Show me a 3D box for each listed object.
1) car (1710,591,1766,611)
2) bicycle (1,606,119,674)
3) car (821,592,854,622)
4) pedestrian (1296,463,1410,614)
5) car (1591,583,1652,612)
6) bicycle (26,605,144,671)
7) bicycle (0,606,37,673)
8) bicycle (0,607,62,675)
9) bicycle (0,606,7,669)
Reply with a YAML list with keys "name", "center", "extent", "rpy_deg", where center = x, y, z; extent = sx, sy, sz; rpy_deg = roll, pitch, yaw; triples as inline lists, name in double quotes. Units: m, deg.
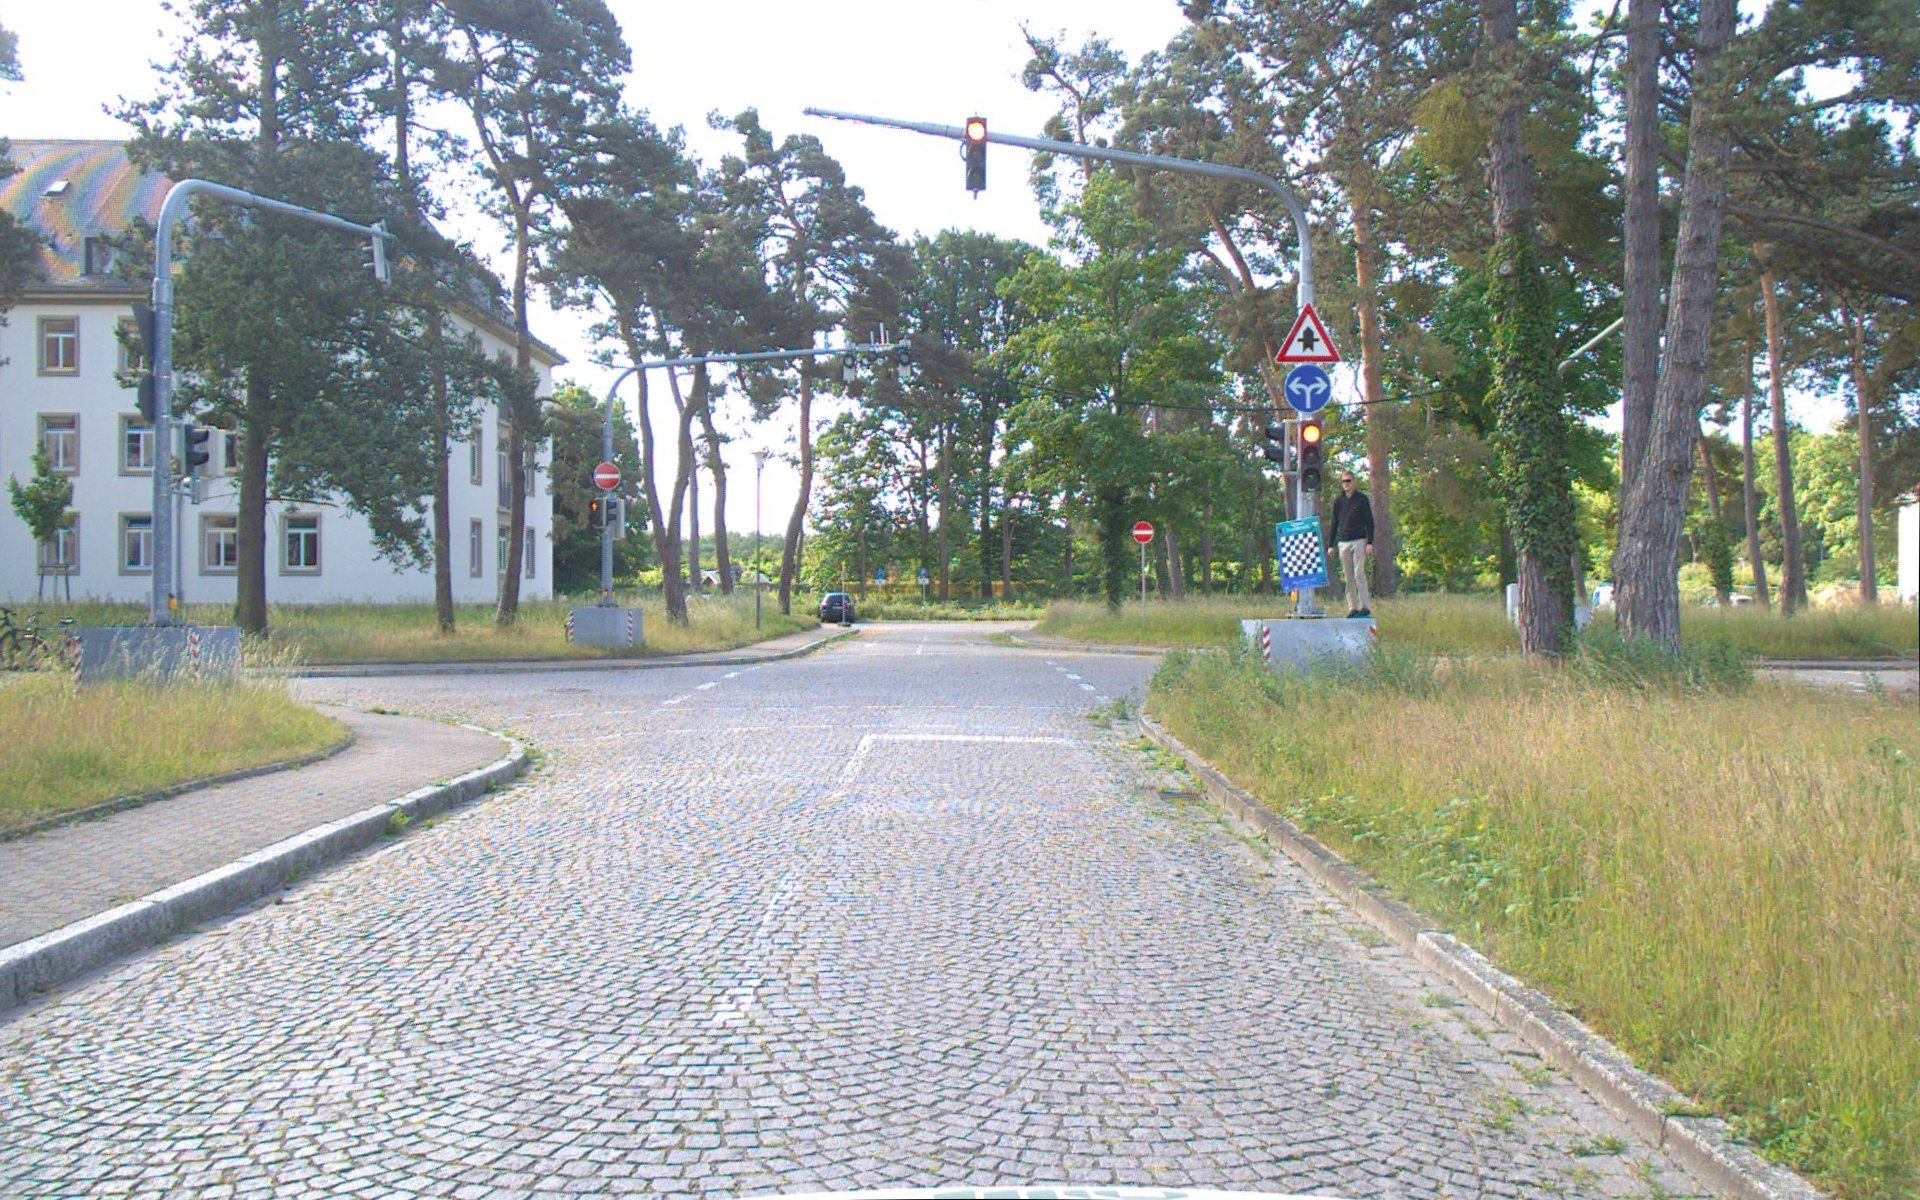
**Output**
- name: "car"
  center: [44.823, 0.023, 95.356]
  extent: [1.686, 1.106, 4.003]
  rpy_deg: [0, 0, 5]
- name: "bicycle"
  center: [-16.762, 0.741, 30.829]
  extent: [1.824, 1.242, 0.635]
  rpy_deg: [0, 0, -1]
- name: "car"
  center: [-6.537, 0.360, 88.340]
  extent: [1.675, 1.522, 3.917]
  rpy_deg: [0, 0, -3]
- name: "pedestrian"
  center: [4.953, -0.753, 20.812]
  extent: [1.146, 1.827, 1.061]
  rpy_deg: [-1, 0, 28]
- name: "car"
  center: [37.933, -0.179, 94.873]
  extent: [1.790, 1.609, 4.162]
  rpy_deg: [0, 0, -1]
- name: "bicycle"
  center: [-16.672, 0.717, 31.545]
  extent: [1.905, 1.242, 0.635]
  rpy_deg: [0, 0, -1]
- name: "bicycle"
  center: [-18.486, 0.751, 31.540]
  extent: [0.620, 1.242, 2.123]
  rpy_deg: [0, 0, -1]
- name: "bicycle"
  center: [-18.011, 0.759, 31.560]
  extent: [0.620, 1.242, 2.114]
  rpy_deg: [0, 0, -1]
- name: "bicycle"
  center: [-19.080, 0.741, 31.533]
  extent: [0.620, 1.242, 2.104]
  rpy_deg: [0, 0, -1]
